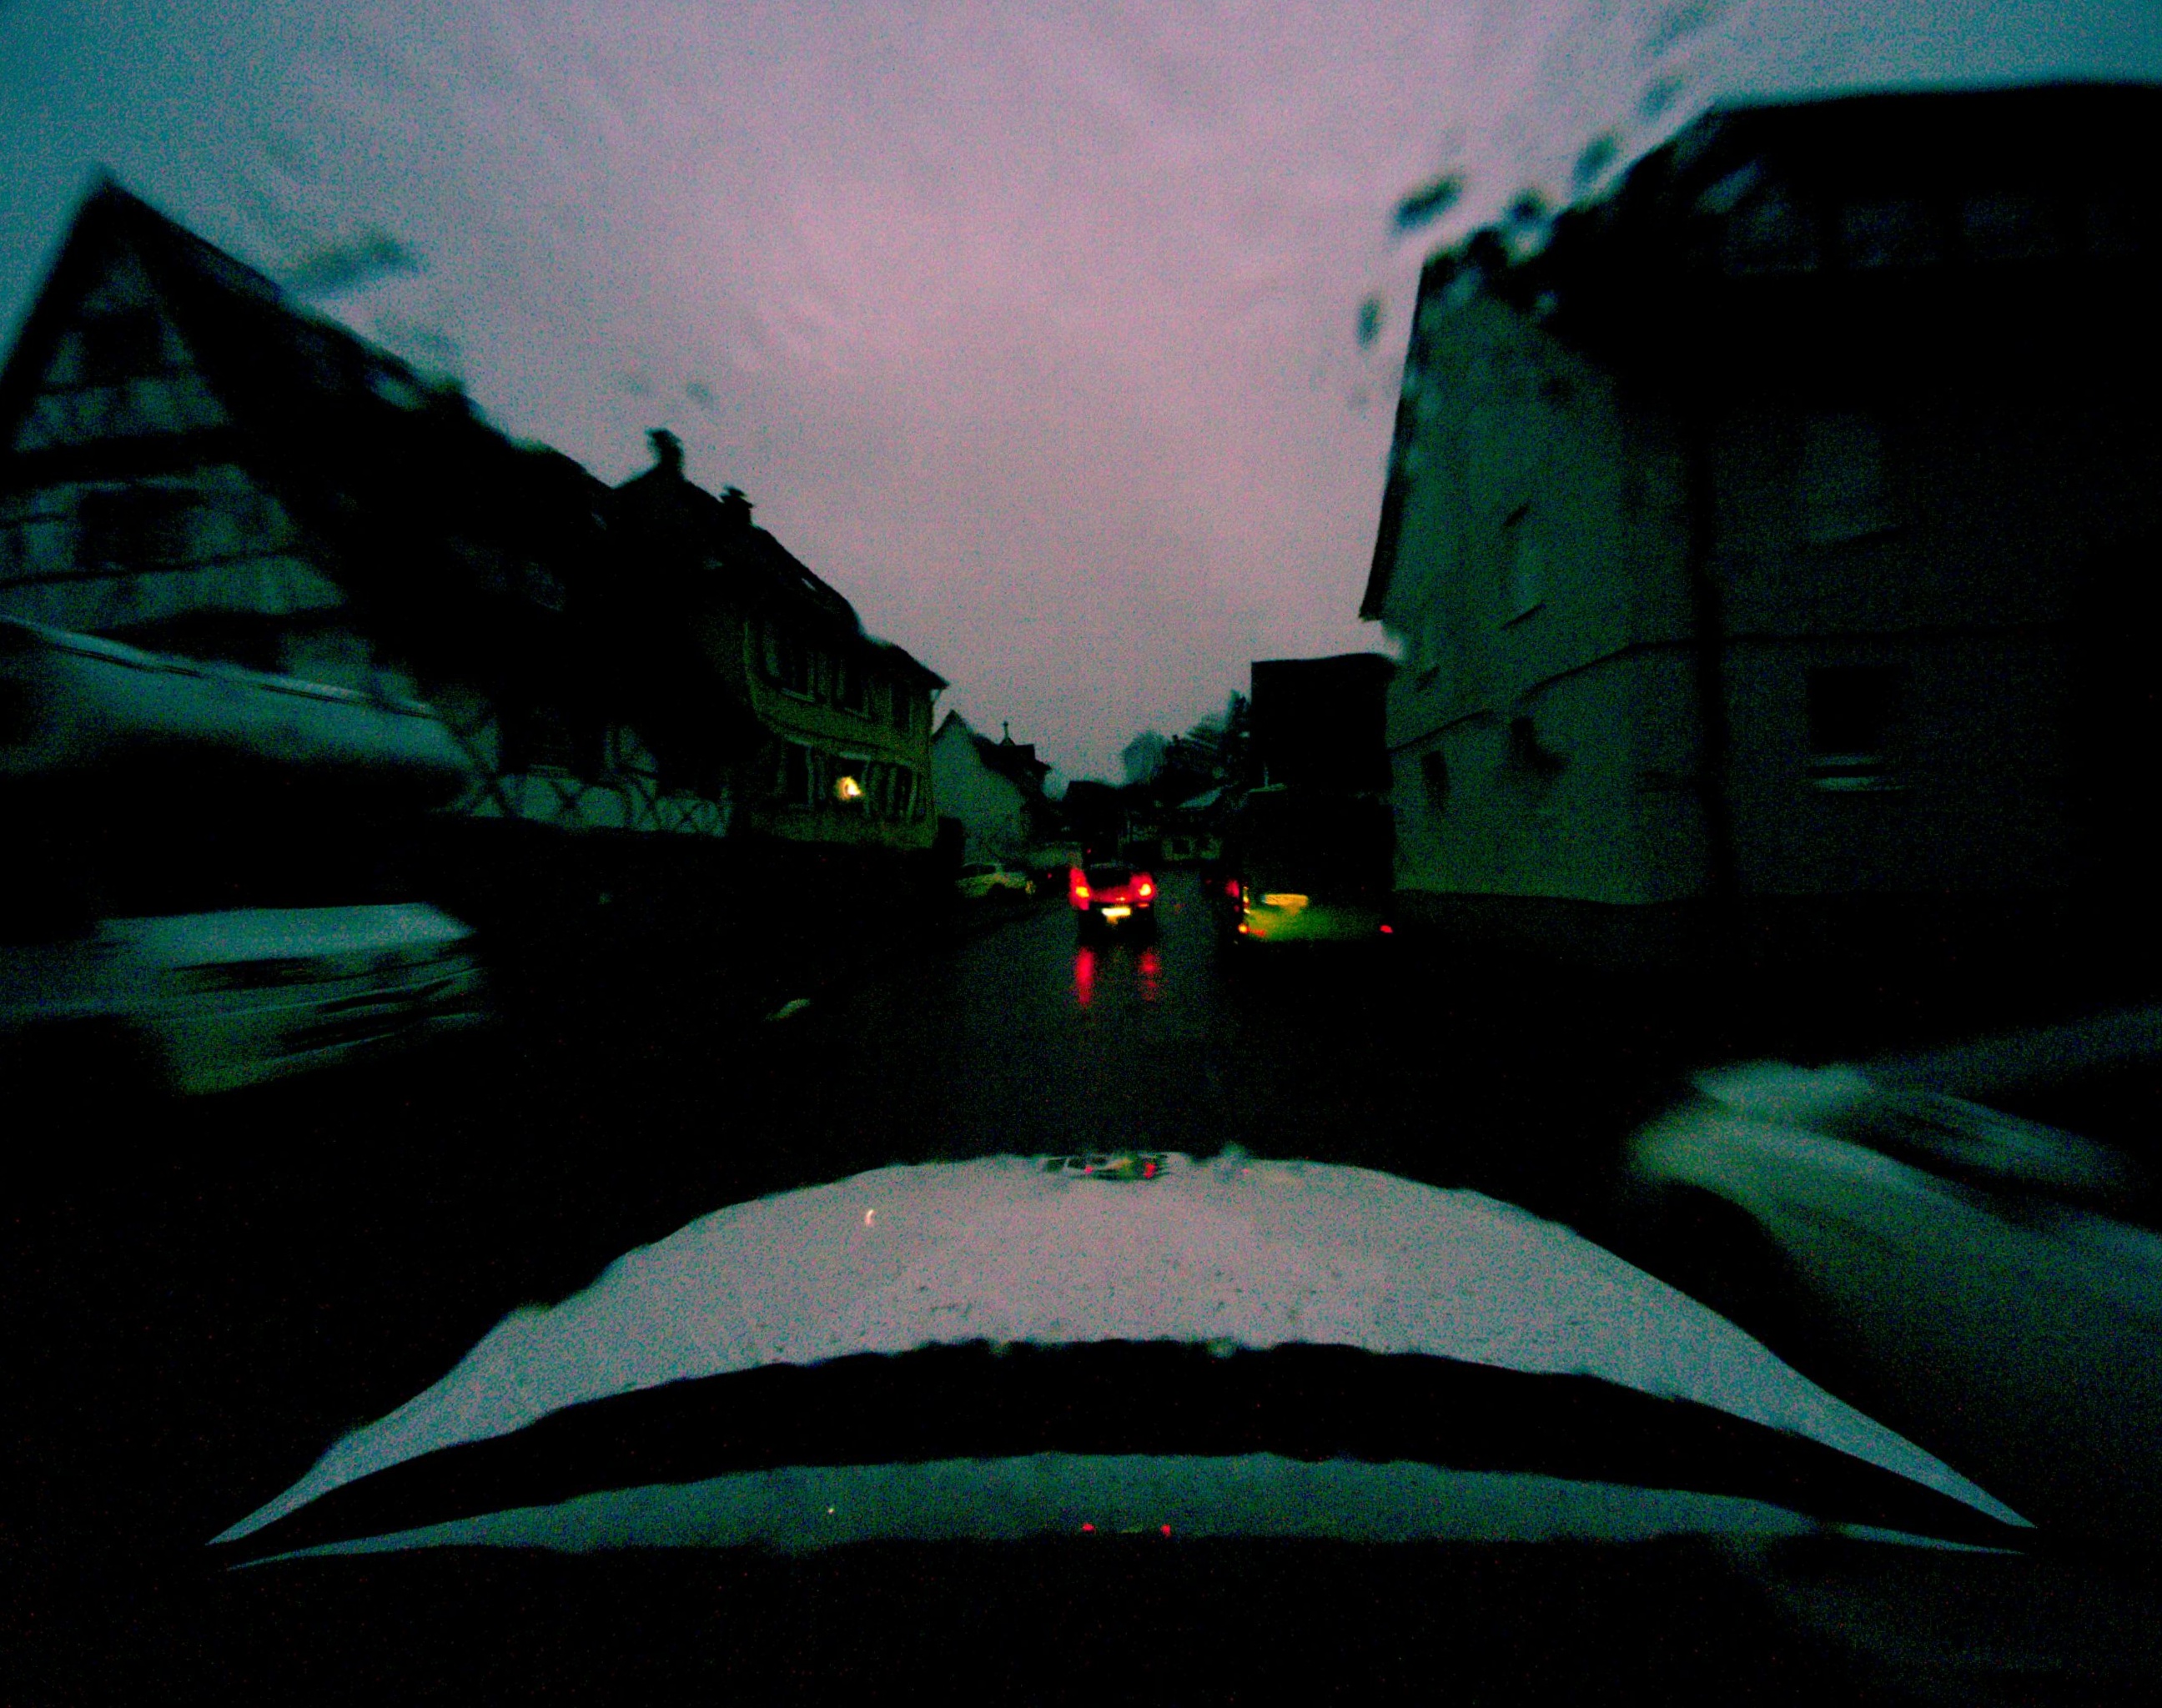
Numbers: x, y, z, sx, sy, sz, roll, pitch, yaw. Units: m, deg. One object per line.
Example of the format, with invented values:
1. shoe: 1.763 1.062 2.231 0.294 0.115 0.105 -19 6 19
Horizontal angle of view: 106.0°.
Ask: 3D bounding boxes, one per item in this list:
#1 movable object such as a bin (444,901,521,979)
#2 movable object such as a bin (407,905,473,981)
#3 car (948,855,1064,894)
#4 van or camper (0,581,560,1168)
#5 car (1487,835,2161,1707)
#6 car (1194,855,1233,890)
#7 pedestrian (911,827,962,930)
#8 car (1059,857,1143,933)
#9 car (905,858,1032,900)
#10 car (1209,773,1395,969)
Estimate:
1. movable object such as a bin: -8.322 1.184 11.334 0.612 1.021 0.582 -1 0 12
2. movable object such as a bin: -8.465 1.161 10.766 0.453 0.948 0.503 -1 0 12
3. car: -3.213 0.869 35.257 4.566 1.470 2.005 -3 -1 9
4. van or camper: -7.331 0.290 5.572 6.028 2.942 2.327 -4 -1 5
5. car: 2.429 0.701 1.184 1.637 1.477 4.374 -1 0 2
6. car: 5.930 0.786 36.391 1.628 1.471 4.011 -1 0 10
7. pedestrian: -2.909 0.481 16.433 0.779 2.014 0.871 0 -1 8
8. car: 0.536 0.826 18.083 1.538 1.466 3.704 -1 0 6
9. car: -4.480 0.984 32.580 4.571 1.470 1.898 -3 -1 13
10. car: 3.222 0.224 13.085 1.999 2.454 5.624 -1 0 6
